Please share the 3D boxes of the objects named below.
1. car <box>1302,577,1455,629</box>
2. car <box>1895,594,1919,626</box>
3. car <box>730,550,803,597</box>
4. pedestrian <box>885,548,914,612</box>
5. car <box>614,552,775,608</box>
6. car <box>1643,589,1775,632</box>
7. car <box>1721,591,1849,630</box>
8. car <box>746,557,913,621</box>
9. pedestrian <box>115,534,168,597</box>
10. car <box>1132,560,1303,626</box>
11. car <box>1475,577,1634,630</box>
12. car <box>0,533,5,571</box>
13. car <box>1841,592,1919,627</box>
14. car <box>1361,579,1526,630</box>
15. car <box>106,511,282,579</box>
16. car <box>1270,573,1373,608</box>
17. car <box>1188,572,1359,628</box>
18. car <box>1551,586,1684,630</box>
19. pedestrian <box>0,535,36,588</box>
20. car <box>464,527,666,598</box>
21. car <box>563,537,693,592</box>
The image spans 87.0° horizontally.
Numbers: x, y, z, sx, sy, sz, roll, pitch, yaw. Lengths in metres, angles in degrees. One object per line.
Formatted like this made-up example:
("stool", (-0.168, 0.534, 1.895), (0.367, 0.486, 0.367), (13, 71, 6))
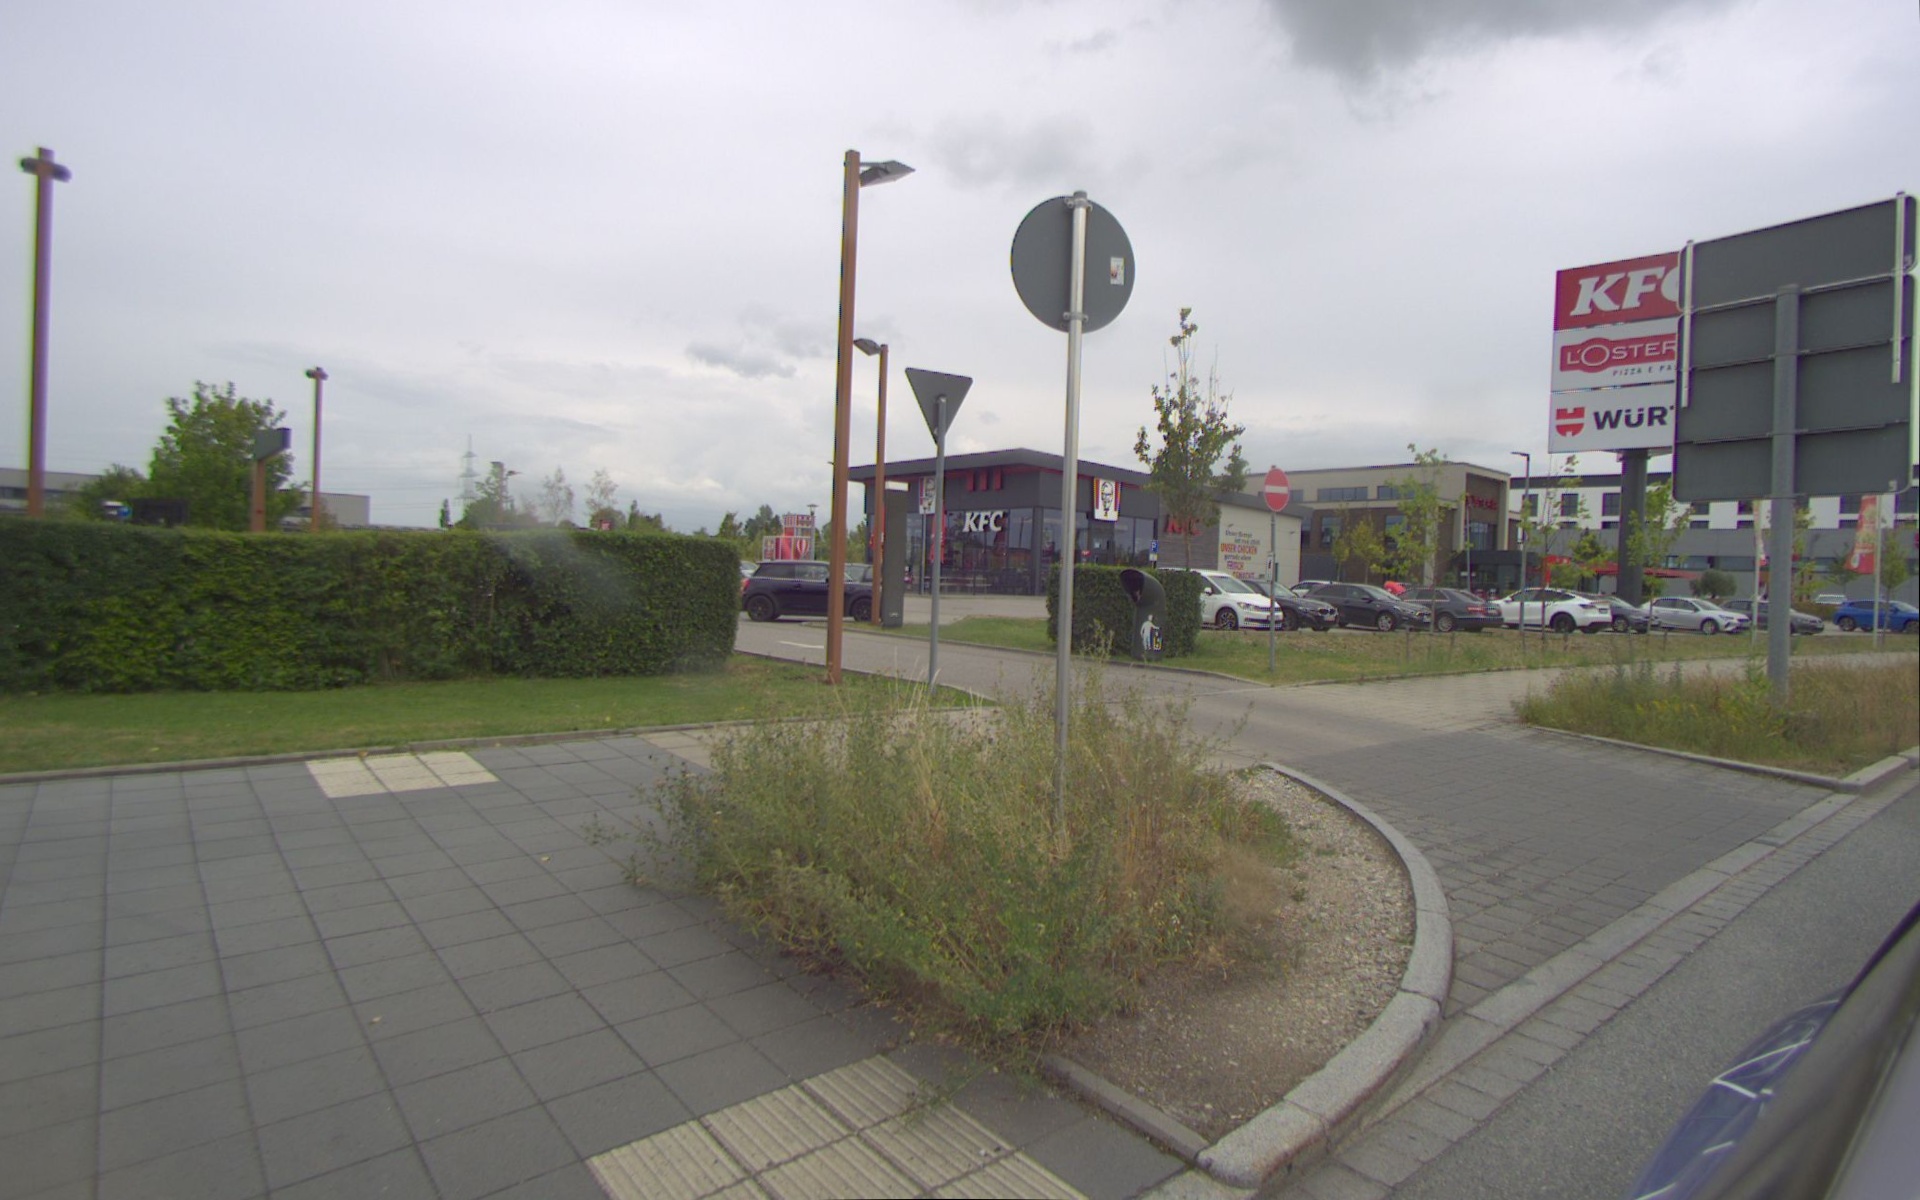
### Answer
("car", (13.298, 0.074, 32.375), (1.906, 1.456, 4.099), (1, 2, -35))
("car", (46.438, 0.525, 46.986), (1.940, 1.512, 4.009), (1, 1, -17))
("car", (-7.889, -1.142, 41.687), (1.969, 1.723, 4.377), (2, 3, 2))
("pedestrian", (-1.773, -0.591, 29.572), (0.467, 1.828, 0.793), (2, 1, 28))
("car", (-7.638, -0.583, 29.364), (4.082, 1.447, 2.004), (2, 1, 6))
("car", (30.571, 0.389, 41.436), (1.862, 1.499, 3.883), (1, 3, -23))
("car", (34.998, 0.420, 43.057), (1.850, 1.512, 3.779), (1, 1, -21))
("car", (-3.033, -0.271, 24.125), (3.775, 1.329, 1.818), (2, 1, -1))
("pedestrian", (-19.436, -0.814, 24.041), (0.616, 1.457, 0.766), (2, 1, 19))
("car", (7.145, -0.240, 28.403), (1.902, 1.660, 4.359), (1, 2, -39))
("car", (21.792, 0.082, 37.301), (2.046, 1.665, 4.585), (1, 3, -28))
("car", (-49.041, -2.377, 48.482), (4.681, 1.801, 1.953), (0, 2, -41))
("car", (43.840, 0.451, 46.770), (1.924, 1.539, 4.286), (1, 1, -19))
("car", (15.940, 0.102, 33.612), (1.992, 1.487, 4.535), (1, 1, -33))
("car", (-31.995, -2.229, 42.572), (2.244, 2.560, 6.032), (2, 1, 9))
("car", (18.395, -0.503, 51.665), (2.043, 1.537, 4.575), (1, 3, -38))
("car", (9.145, -0.030, 29.857), (2.035, 1.454, 4.482), (1, 2, -36))
("car", (25.934, 0.279, 40.075), (1.900, 1.503, 4.008), (0, 2, -25))
("pedestrian", (-30.028, -1.228, 32.144), (0.727, 1.648, 0.685), (1, 0, -3))
("car", (-15.671, -1.490, 40.424), (7.192, 2.533, 2.281), (2, 1, 2))
("car", (-15.925, -1.677, 48.550), (5.574, 2.380, 2.540), (1, 1, -26))
